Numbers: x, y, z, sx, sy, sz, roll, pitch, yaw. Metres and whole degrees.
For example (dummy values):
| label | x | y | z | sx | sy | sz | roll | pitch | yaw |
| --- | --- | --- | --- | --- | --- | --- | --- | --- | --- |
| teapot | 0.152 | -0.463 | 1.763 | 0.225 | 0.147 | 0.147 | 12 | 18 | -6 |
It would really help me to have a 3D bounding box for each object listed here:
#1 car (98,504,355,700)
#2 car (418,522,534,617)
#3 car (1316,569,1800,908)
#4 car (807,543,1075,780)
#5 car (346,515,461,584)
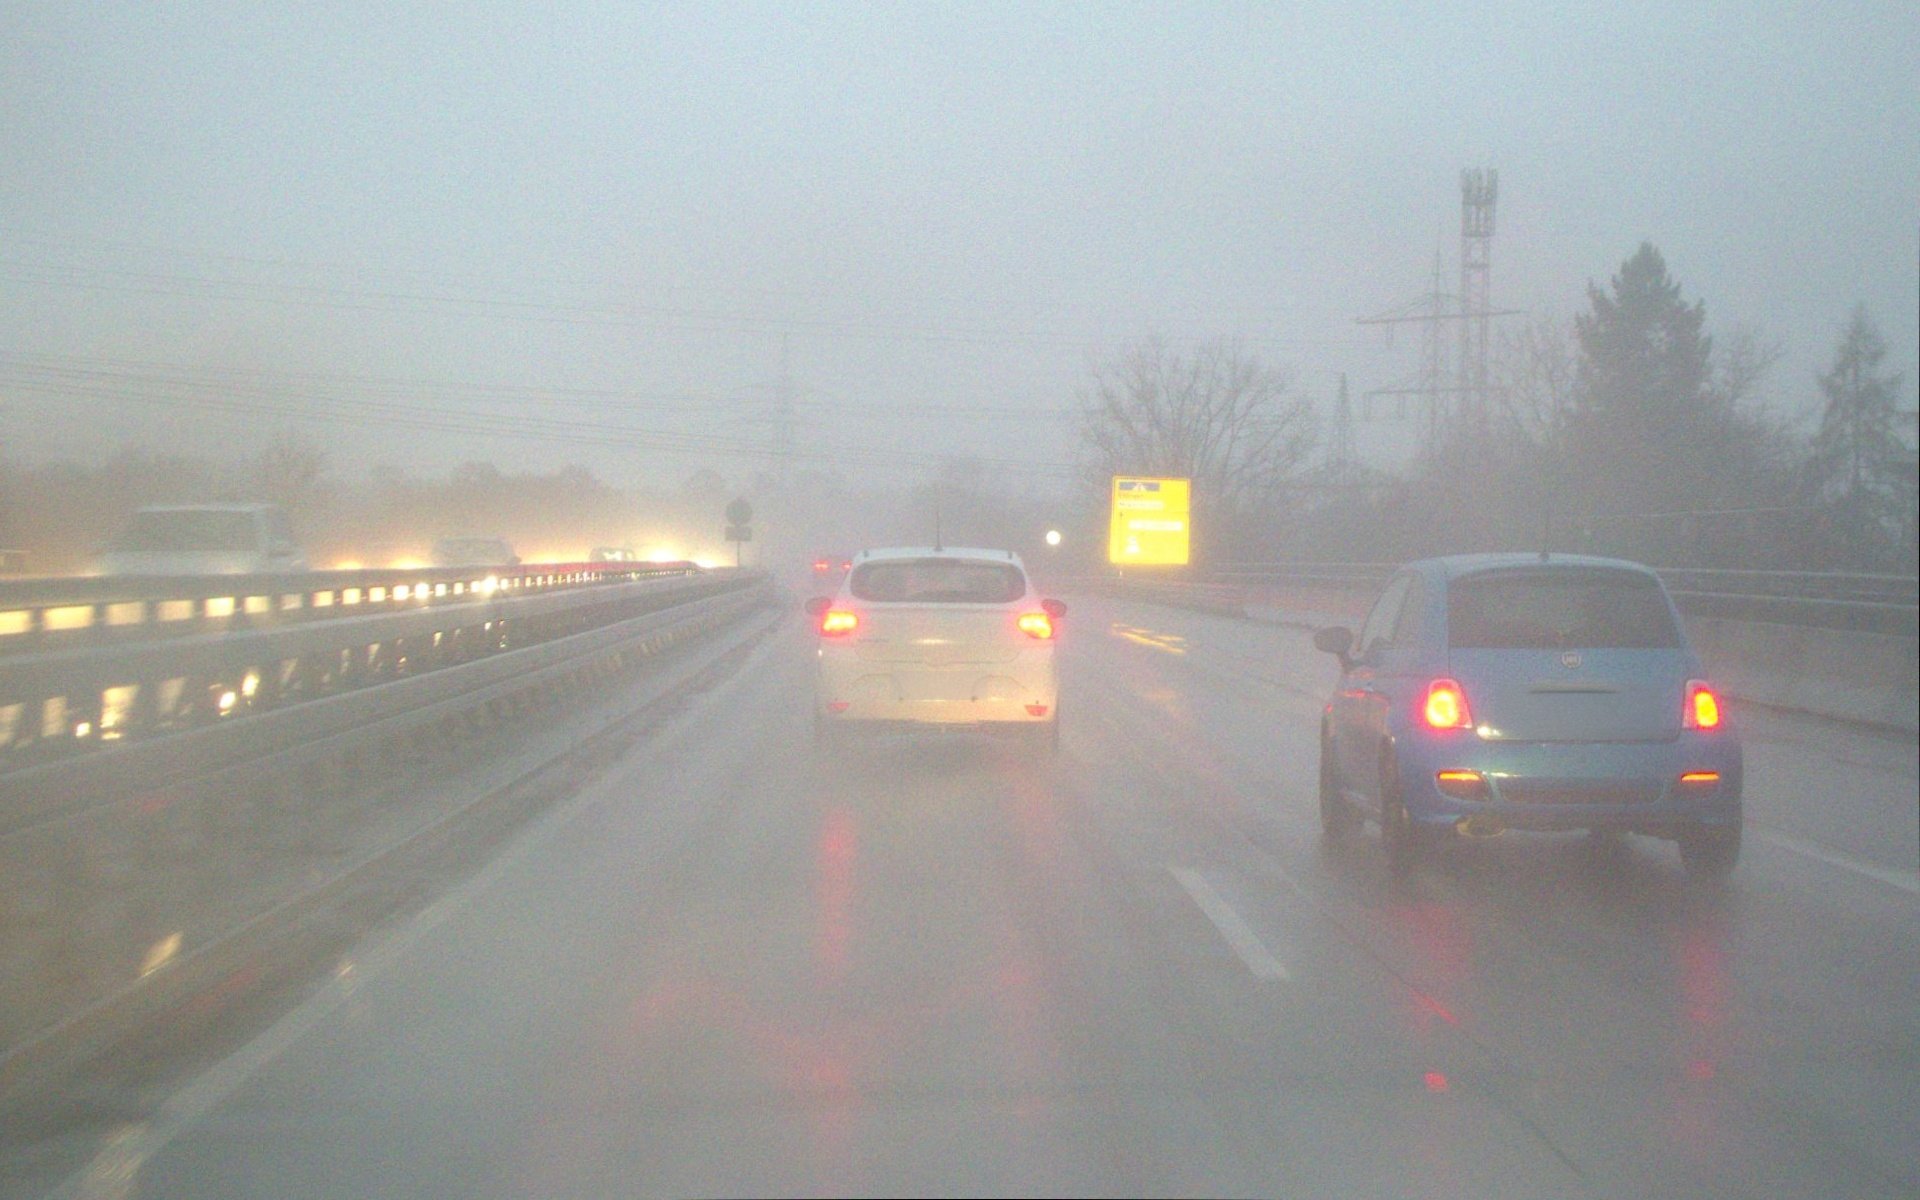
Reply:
| label | x | y | z | sx | sy | sz | roll | pitch | yaw |
| --- | --- | --- | --- | --- | --- | --- | --- | --- | --- |
| car | -8.195 | -0.033 | 38.787 | 1.964 | 2.046 | 4.373 | 1 | 1 | -1 |
| car | -8.886 | -0.580 | 63.378 | 1.686 | 1.678 | 3.507 | 0 | 1 | -1 |
| car | 2.952 | 0.616 | 17.821 | 1.845 | 1.448 | 4.149 | 1 | 2 | 1 |
| car | -0.187 | 0.397 | 25.816 | 1.845 | 1.630 | 3.768 | 1 | 1 | -2 |
| car | -12.900 | -1.191 | 79.915 | 1.968 | 1.518 | 4.199 | 1 | 1 | 0 |
